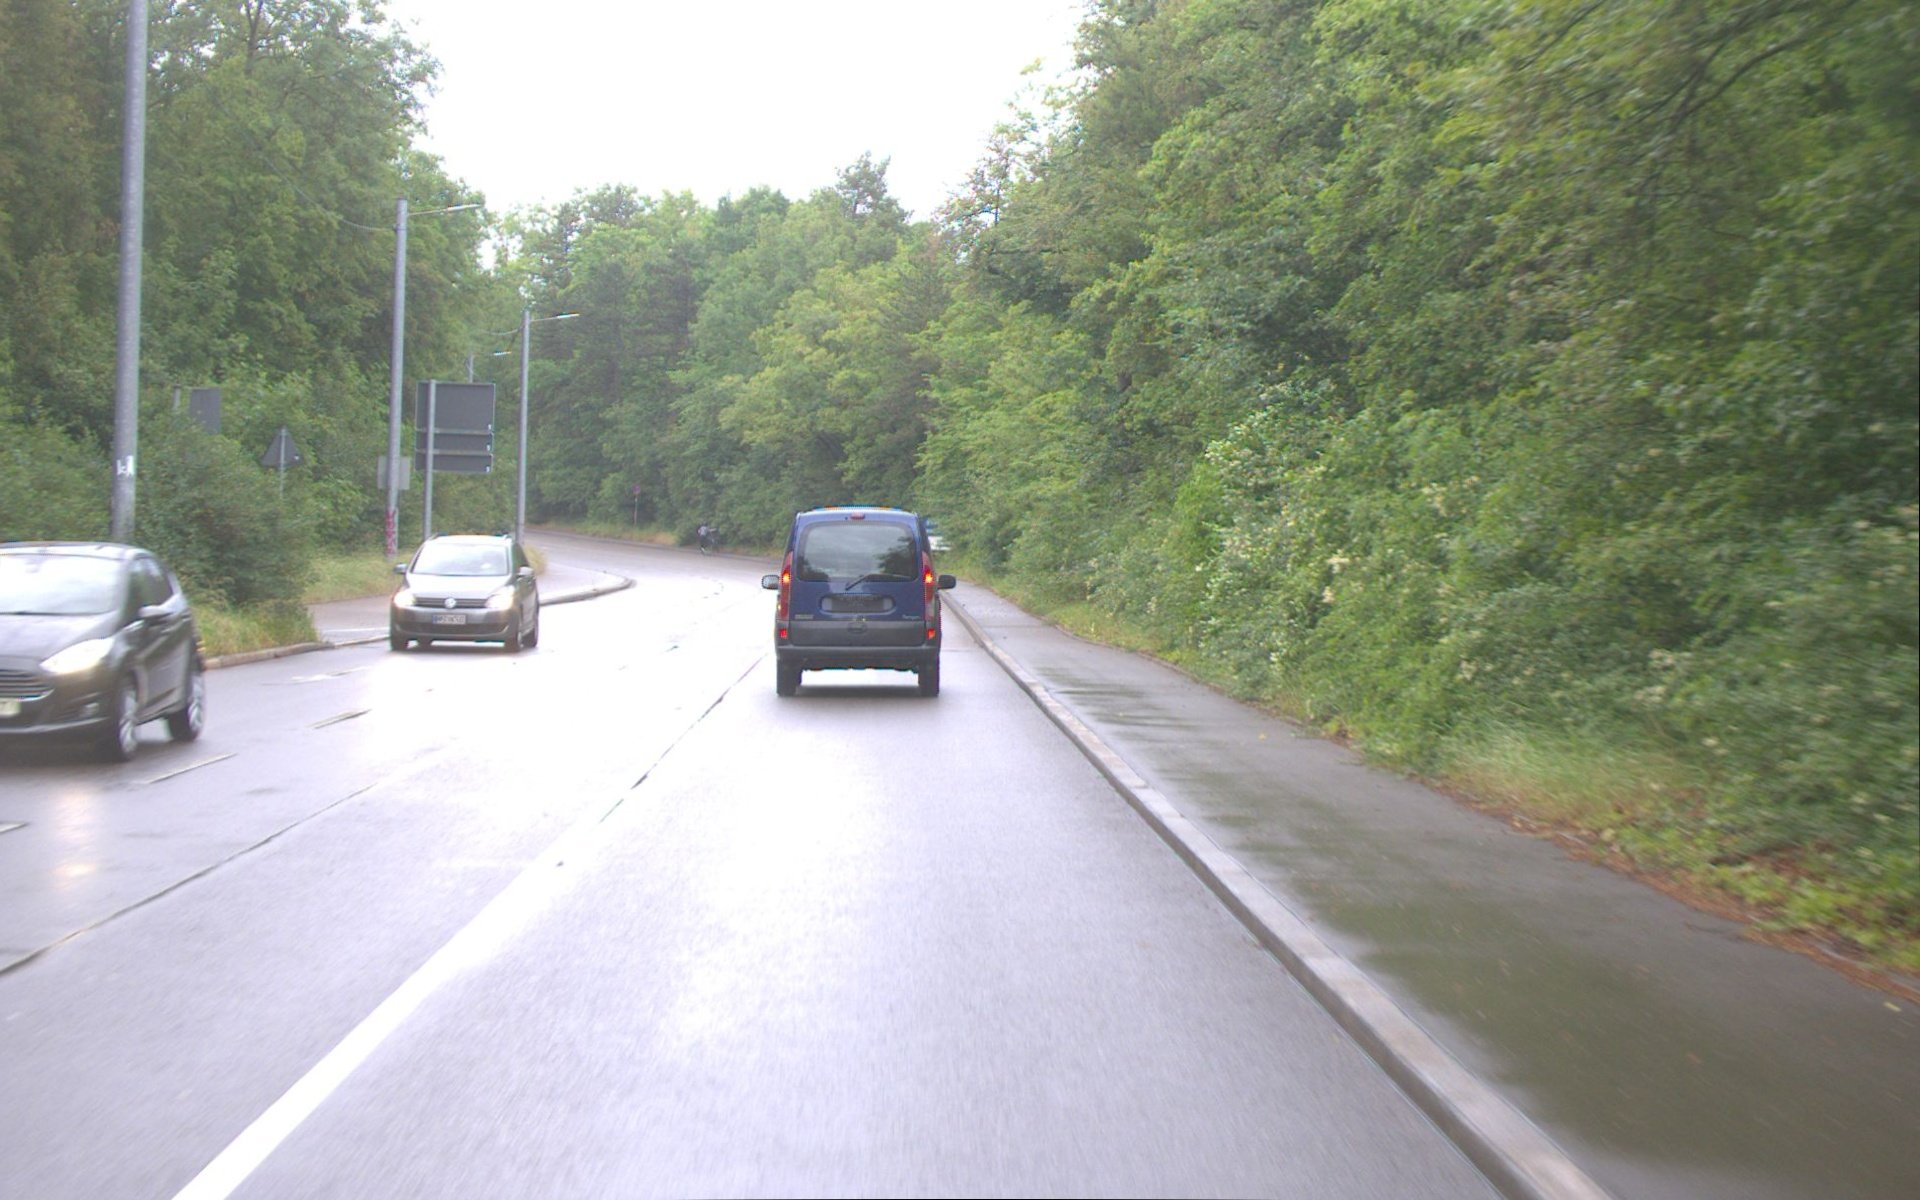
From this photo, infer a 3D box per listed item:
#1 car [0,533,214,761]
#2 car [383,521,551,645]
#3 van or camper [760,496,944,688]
[{"bbox_3d":[-6.346,0.260,23.848,1.598,1.436,3.991,0,1,-2],"label":"car"},{"bbox_3d":[-6.785,-0.263,47.673,1.771,1.605,4.084,1,1,-1],"label":"car"},{"bbox_3d":[-1.045,-0.121,34.919,1.712,1.819,4.000,1,1,0],"label":"van or camper"}]
